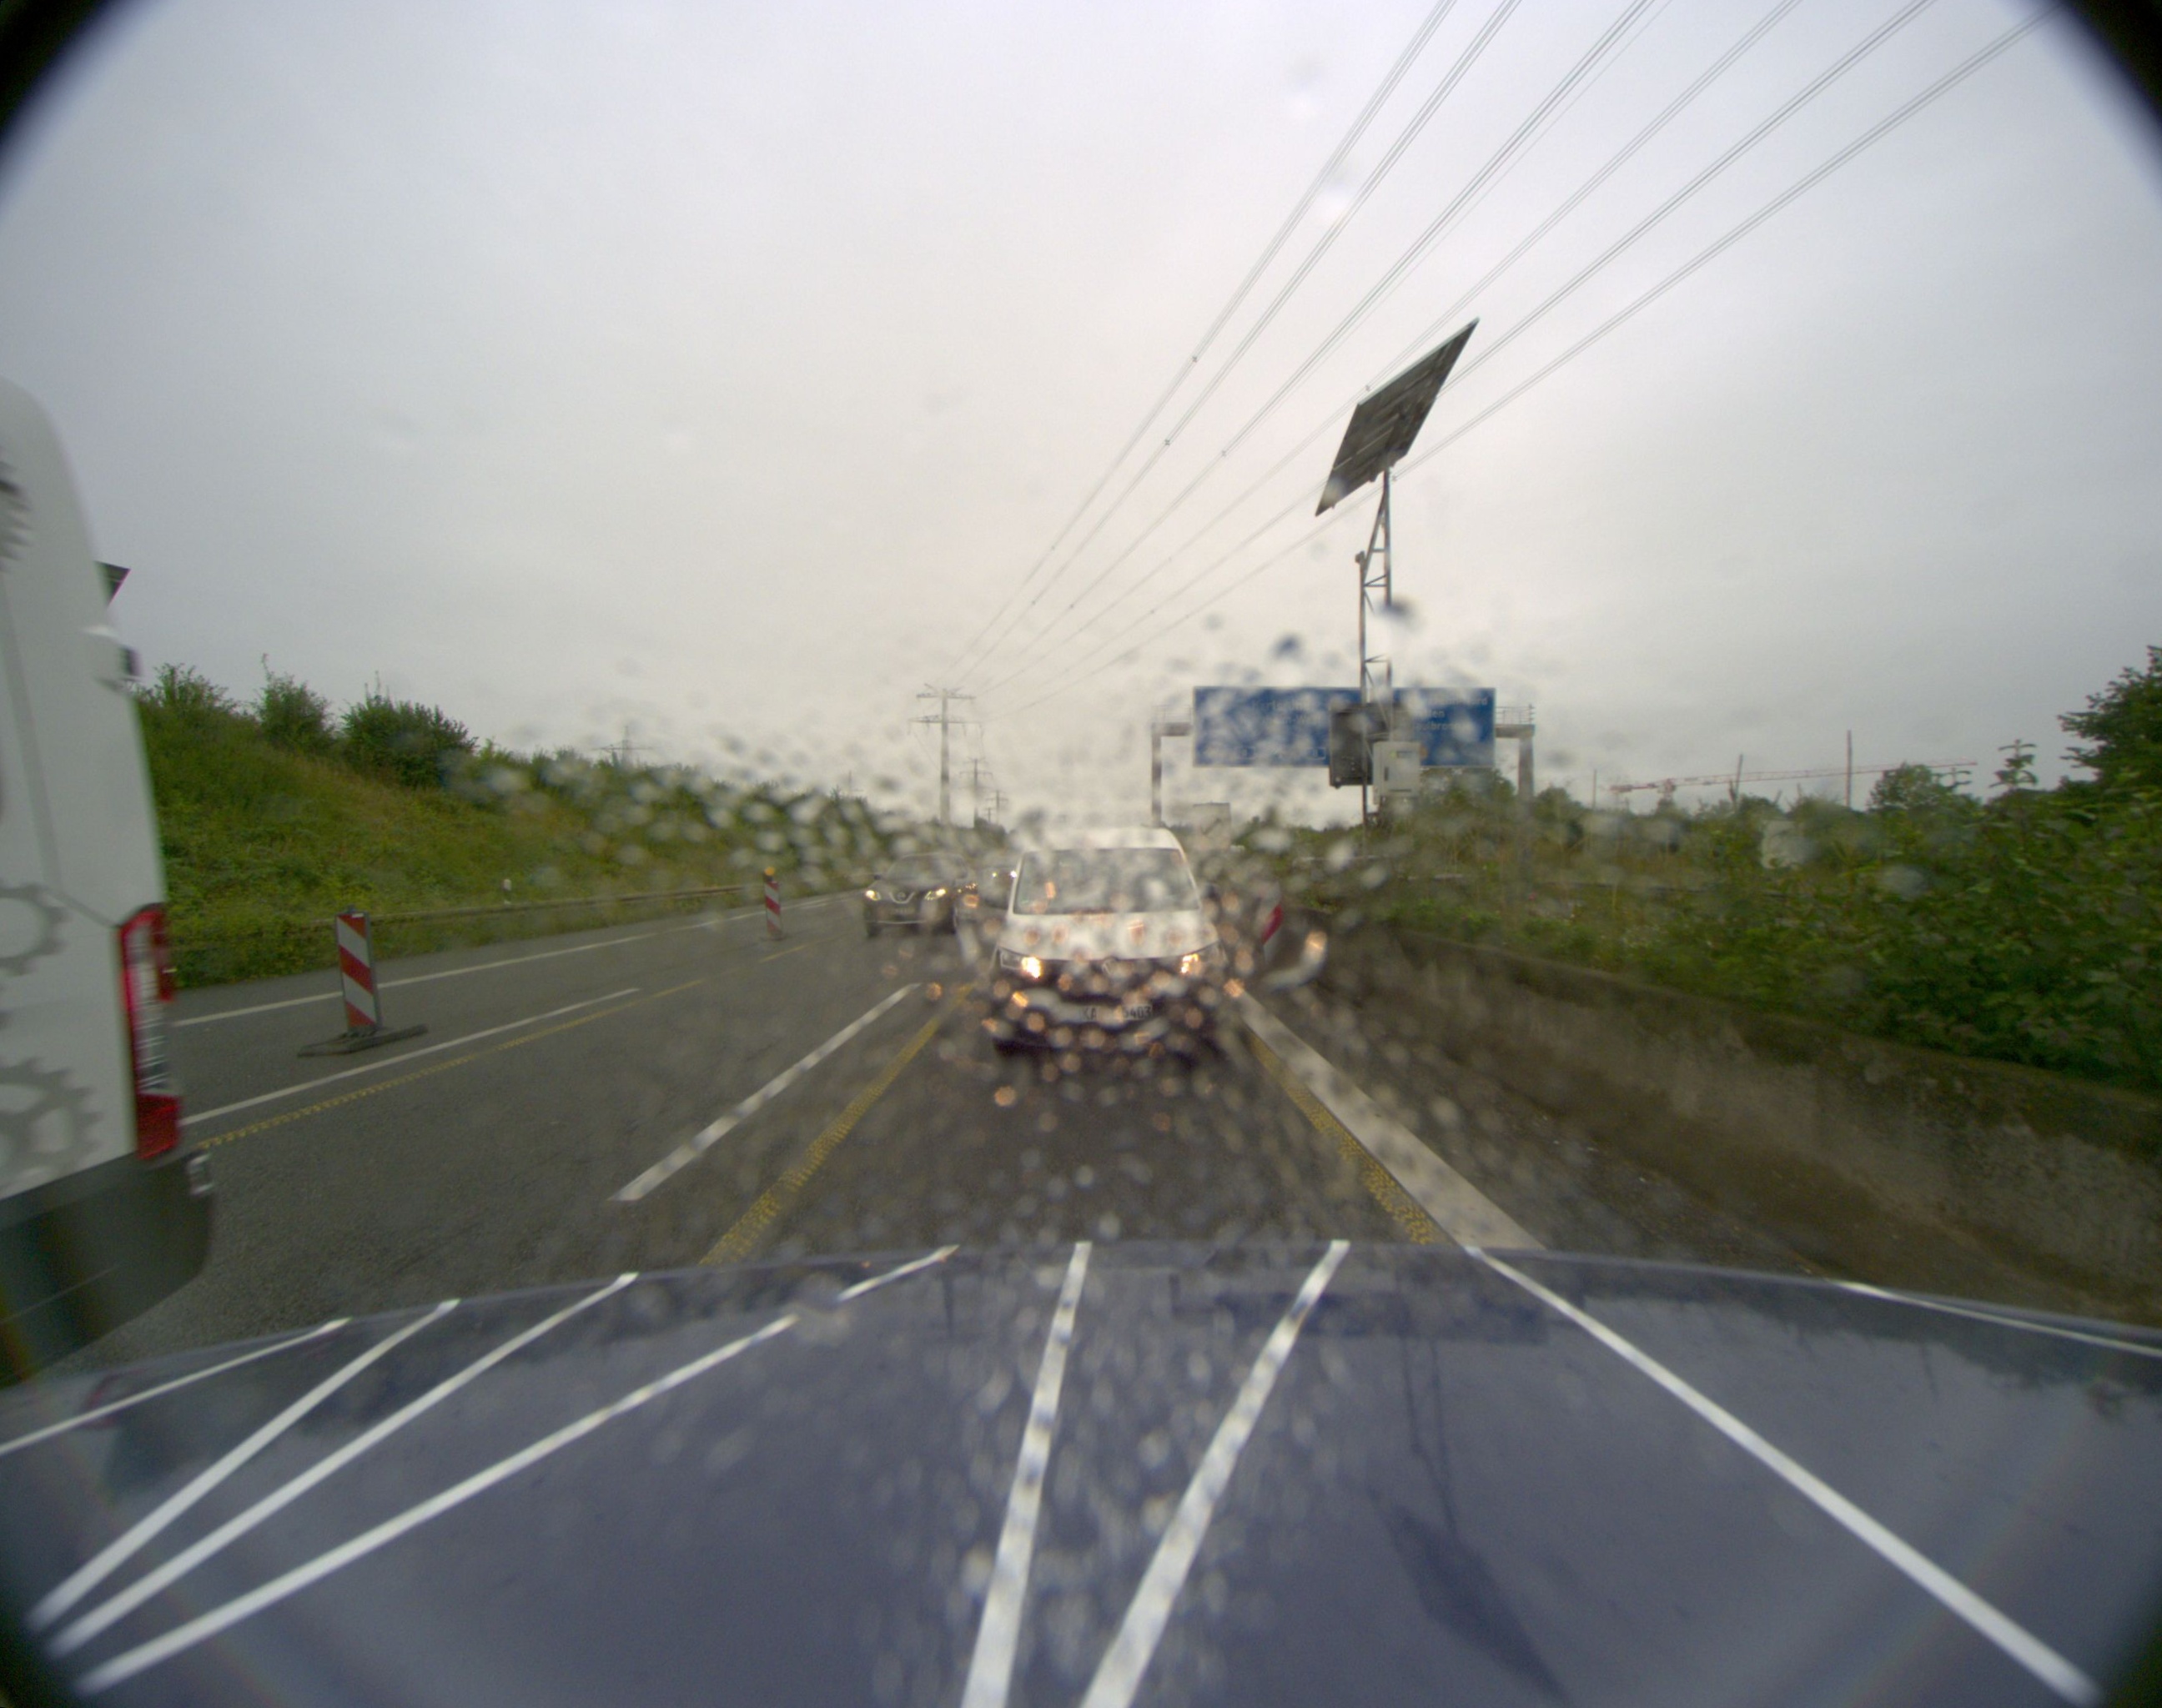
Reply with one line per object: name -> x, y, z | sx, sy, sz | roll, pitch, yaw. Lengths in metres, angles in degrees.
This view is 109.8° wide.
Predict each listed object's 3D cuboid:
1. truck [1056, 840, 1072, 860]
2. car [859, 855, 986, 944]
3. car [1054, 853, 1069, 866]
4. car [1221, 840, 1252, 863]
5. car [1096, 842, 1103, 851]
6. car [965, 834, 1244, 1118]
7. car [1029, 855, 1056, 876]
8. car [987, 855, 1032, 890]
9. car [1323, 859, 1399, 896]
truck -> -3.495, -0.784, 158.101 | 2.875, 4.007, 8.308 | -1, 0, 1
car -> -3.311, 0.875, 16.721 | 1.688, 1.649, 4.281 | -1, 0, 3
car -> -2.623, 0.738, 102.926 | 1.804, 1.598, 4.149 | -1, 0, -1
car -> 16.083, -0.229, 78.920 | 2.185, 2.252, 5.203 | -1, 0, 1
car -> 4.409, -1.885, 180.976 | 1.785, 2.002, 4.000 | -2, 1, 1
car -> 0.174, 0.785, 7.107 | 1.768, 1.803, 4.345 | -1, 0, 1
car -> -2.792, 0.790, 56.178 | 1.804, 1.432, 4.149 | -1, 0, -1
car -> -3.411, 0.837, 36.871 | 1.804, 1.523, 4.149 | -1, 0, -1
car -> 12.783, 1.030, 34.970 | 1.998, 1.518, 4.000 | -1, 0, 1
